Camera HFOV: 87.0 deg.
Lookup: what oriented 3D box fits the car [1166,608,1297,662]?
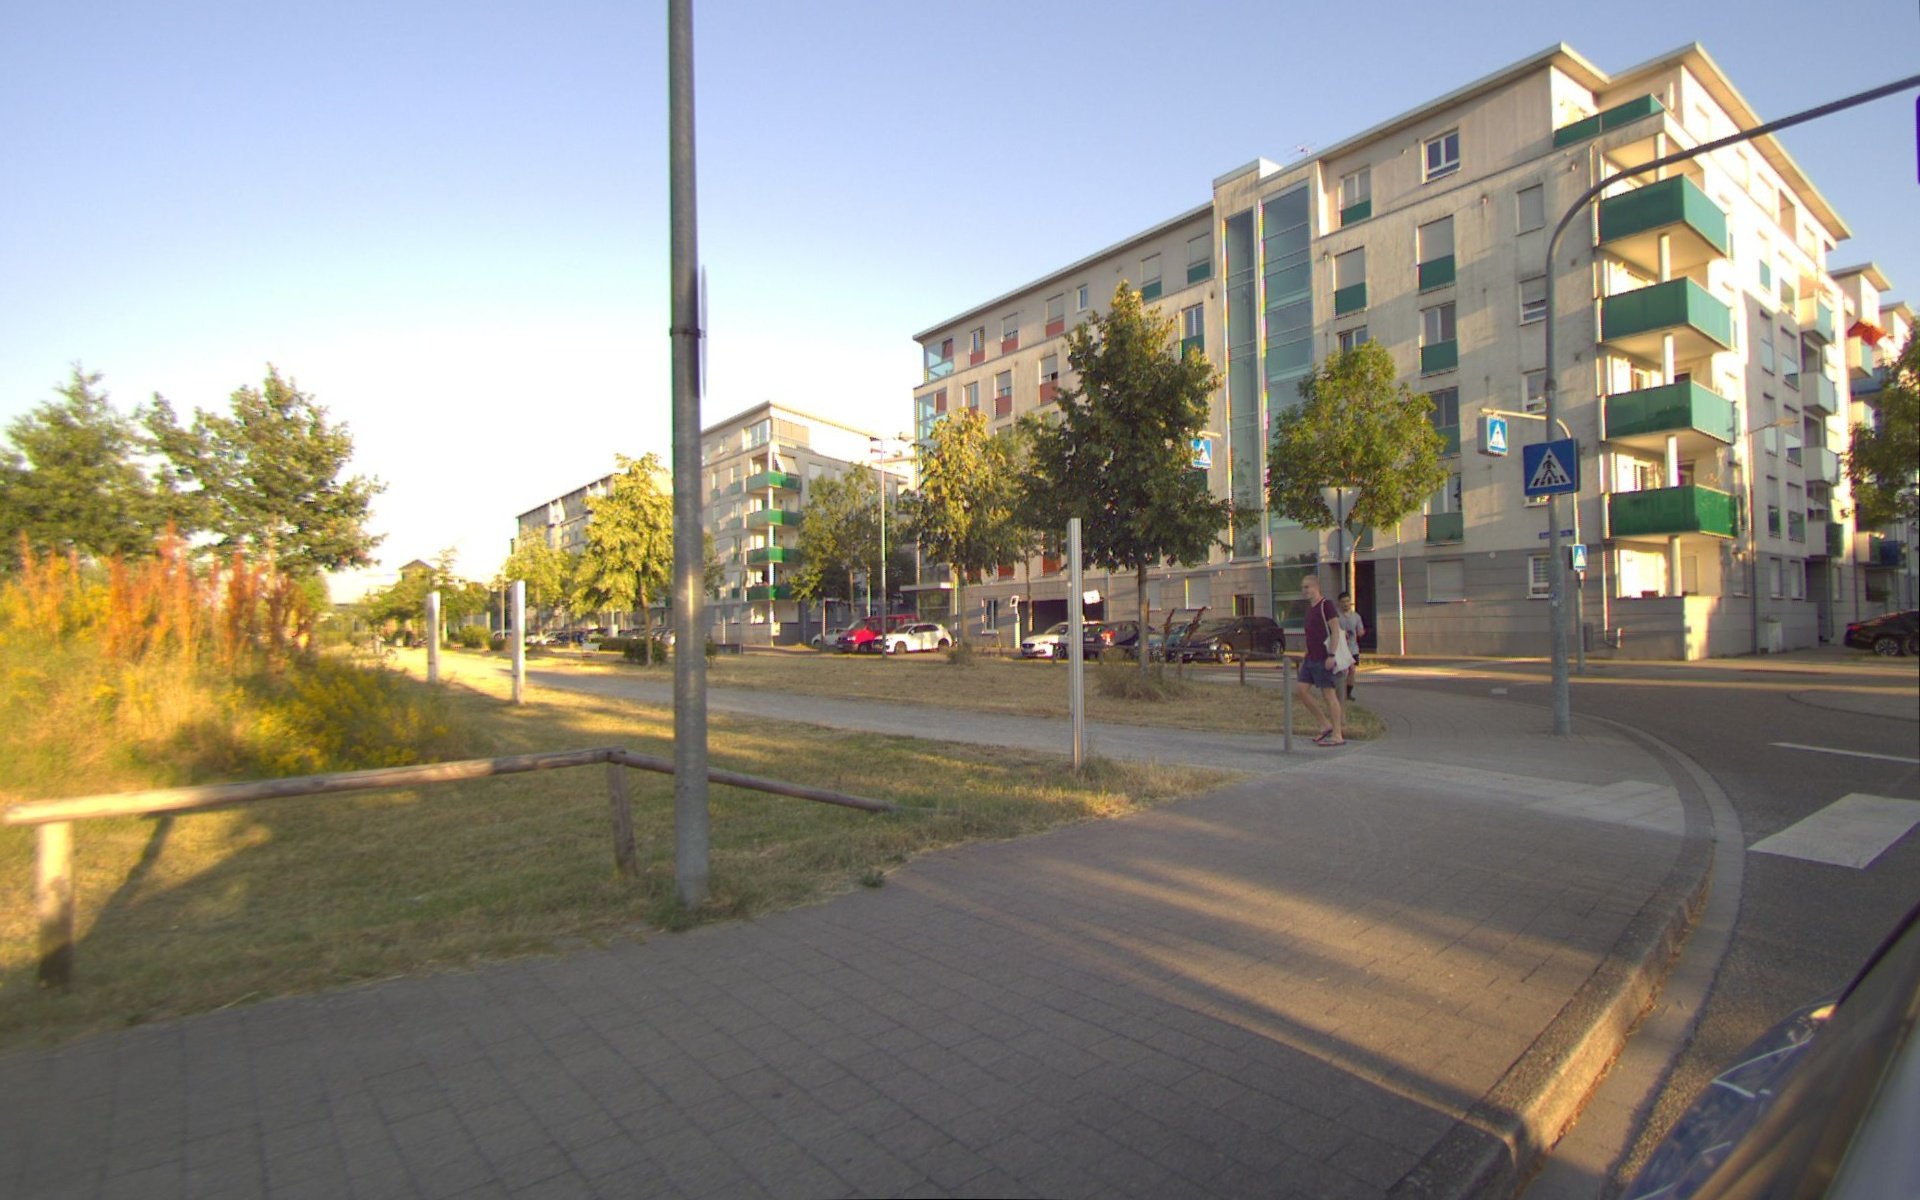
[{"bbox_3d":[8.980,1.123,33.289,4.400,1.506,1.831,-2,-1,-38],"label":"car"}]

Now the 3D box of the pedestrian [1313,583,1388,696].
[{"bbox_3d":[6.245,0.626,16.205,0.752,1.752,0.802,1,-3,-31],"label":"pedestrian"}]

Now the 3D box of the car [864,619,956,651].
[{"bbox_3d":[-2.426,1.718,49.737,4.384,1.541,1.700,1,-3,-38],"label":"car"}]

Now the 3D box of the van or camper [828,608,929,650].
[{"bbox_3d":[-4.171,1.495,52.137,5.038,2.087,1.875,1,-3,-38],"label":"van or camper"}]

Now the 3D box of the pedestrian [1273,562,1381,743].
[{"bbox_3d":[3.853,0.540,10.643,0.787,1.808,0.733,2,-3,-38],"label":"pedestrian"}]

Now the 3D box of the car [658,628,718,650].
[{"bbox_3d":[-20.174,2.894,75.069,3.885,1.613,1.776,1,-3,-40],"label":"car"}]

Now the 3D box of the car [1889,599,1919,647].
[{"bbox_3d":[31.863,0.776,31.271,1.709,1.527,4.416,1,0,-35],"label":"car"}]

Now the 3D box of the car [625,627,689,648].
[{"bbox_3d":[-23.598,2.886,78.895,4.333,1.613,1.949,1,-3,-40],"label":"car"}]

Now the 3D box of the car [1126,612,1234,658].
[{"bbox_3d":[7.844,1.209,35.916,3.933,1.391,1.558,-2,-1,-38],"label":"car"}]

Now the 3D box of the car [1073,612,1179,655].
[{"bbox_3d":[6.247,1.253,37.915,3.981,1.499,1.700,1,-3,-38],"label":"car"}]

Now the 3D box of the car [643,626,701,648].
[{"bbox_3d":[-21.841,2.806,76.880,3.885,1.613,1.776,1,-3,-40],"label":"car"}]

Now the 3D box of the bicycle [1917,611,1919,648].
[{"bbox_3d":[28.368,0.863,28.498,0.465,1.059,2.031,2,0,-43],"label":"bicycle"}]

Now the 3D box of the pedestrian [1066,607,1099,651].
[{"bbox_3d":[5.439,1.304,44.961,0.961,1.919,1.049,1,-3,-36],"label":"pedestrian"}]

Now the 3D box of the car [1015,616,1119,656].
[{"bbox_3d":[4.220,1.395,39.661,3.981,1.499,1.700,1,-3,-38],"label":"car"}]

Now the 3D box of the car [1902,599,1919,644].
[{"bbox_3d":[33.793,0.761,33.010,1.711,1.513,4.292,1,0,-39],"label":"car"}]

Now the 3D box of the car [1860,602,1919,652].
[{"bbox_3d":[29.805,0.847,29.635,1.901,1.476,4.889,1,0,-37],"label":"car"}]

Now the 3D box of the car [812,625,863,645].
[{"bbox_3d":[-9.097,2.602,75.180,3.484,1.487,1.601,-1,-2,22],"label":"car"}]

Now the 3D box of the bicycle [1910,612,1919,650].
[{"bbox_3d":[27.465,0.874,27.910,0.557,1.055,1.790,2,0,-43],"label":"bicycle"}]

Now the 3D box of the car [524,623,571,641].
[{"bbox_3d":[-43.909,3.385,107.763,4.335,1.863,1.948,1,-3,-41],"label":"car"}]

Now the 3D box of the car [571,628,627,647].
[{"bbox_3d":[-32.421,3.348,90.982,4.333,1.613,1.949,1,-3,-39],"label":"car"}]
